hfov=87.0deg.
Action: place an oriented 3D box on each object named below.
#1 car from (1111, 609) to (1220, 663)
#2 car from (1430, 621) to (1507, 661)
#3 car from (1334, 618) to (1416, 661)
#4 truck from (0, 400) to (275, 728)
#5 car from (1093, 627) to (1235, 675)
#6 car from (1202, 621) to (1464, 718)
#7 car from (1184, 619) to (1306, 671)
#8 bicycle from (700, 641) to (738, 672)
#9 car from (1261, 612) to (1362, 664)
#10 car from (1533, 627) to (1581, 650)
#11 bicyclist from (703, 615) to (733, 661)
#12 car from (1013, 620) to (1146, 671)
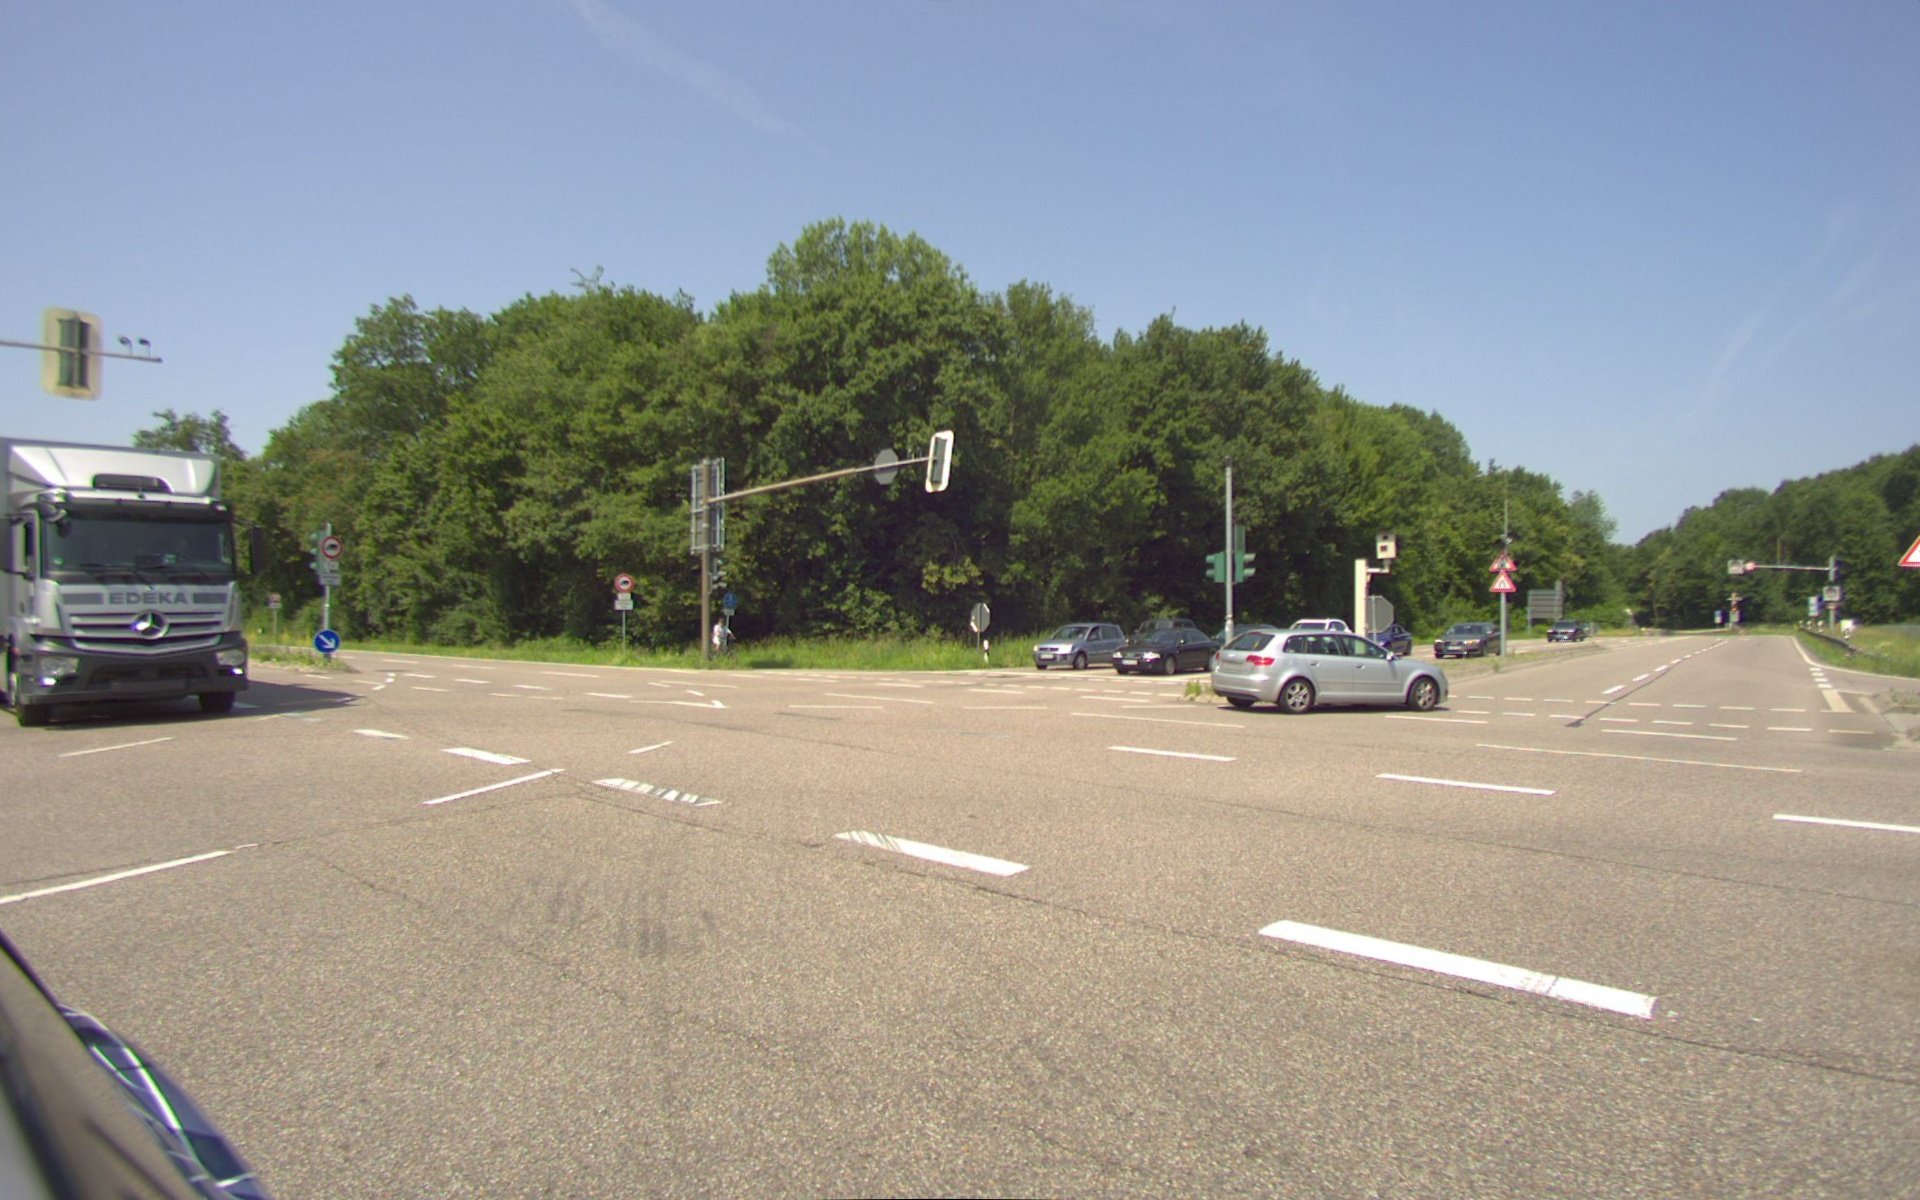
[{"bbox_3d":[7.833,1.347,38.218,1.999,1.912,4.755,-1,-2,41],"label":"car"},{"bbox_3d":[21.042,1.656,41.789,1.860,1.530,4.757,-1,-2,39],"label":"car"},{"bbox_3d":[18.283,1.715,44.475,1.998,1.770,4.757,-1,-2,39],"label":"car"},{"bbox_3d":[-14.820,-0.383,16.813,11.312,3.914,2.718,-1,0,40],"label":"truck"},{"bbox_3d":[6.207,1.467,30.395,2.105,1.300,4.754,-1,-2,41],"label":"car"},{"bbox_3d":[6.388,1.133,17.429,3.946,1.402,1.776,-1,0,-18],"label":"car"},{"bbox_3d":[9.803,1.481,34.629,2.001,1.648,4.750,-1,-2,44],"label":"car"},{"bbox_3d":[-7.821,1.815,32.819,0.558,0.930,1.608,1,-2,-39],"label":"bicycle"},{"bbox_3d":[13.707,1.447,39.301,2.066,1.910,4.754,-1,-2,42],"label":"car"},{"bbox_3d":[44.919,2.890,76.093,2.001,1.648,4.750,-1,-2,44],"label":"car"},{"bbox_3d":[-7.860,1.239,32.896,0.651,1.476,0.811,1,-2,-39],"label":"bicyclist"},{"bbox_3d":[4.078,1.473,33.823,2.129,1.579,4.755,-1,-2,41],"label":"car"}]
